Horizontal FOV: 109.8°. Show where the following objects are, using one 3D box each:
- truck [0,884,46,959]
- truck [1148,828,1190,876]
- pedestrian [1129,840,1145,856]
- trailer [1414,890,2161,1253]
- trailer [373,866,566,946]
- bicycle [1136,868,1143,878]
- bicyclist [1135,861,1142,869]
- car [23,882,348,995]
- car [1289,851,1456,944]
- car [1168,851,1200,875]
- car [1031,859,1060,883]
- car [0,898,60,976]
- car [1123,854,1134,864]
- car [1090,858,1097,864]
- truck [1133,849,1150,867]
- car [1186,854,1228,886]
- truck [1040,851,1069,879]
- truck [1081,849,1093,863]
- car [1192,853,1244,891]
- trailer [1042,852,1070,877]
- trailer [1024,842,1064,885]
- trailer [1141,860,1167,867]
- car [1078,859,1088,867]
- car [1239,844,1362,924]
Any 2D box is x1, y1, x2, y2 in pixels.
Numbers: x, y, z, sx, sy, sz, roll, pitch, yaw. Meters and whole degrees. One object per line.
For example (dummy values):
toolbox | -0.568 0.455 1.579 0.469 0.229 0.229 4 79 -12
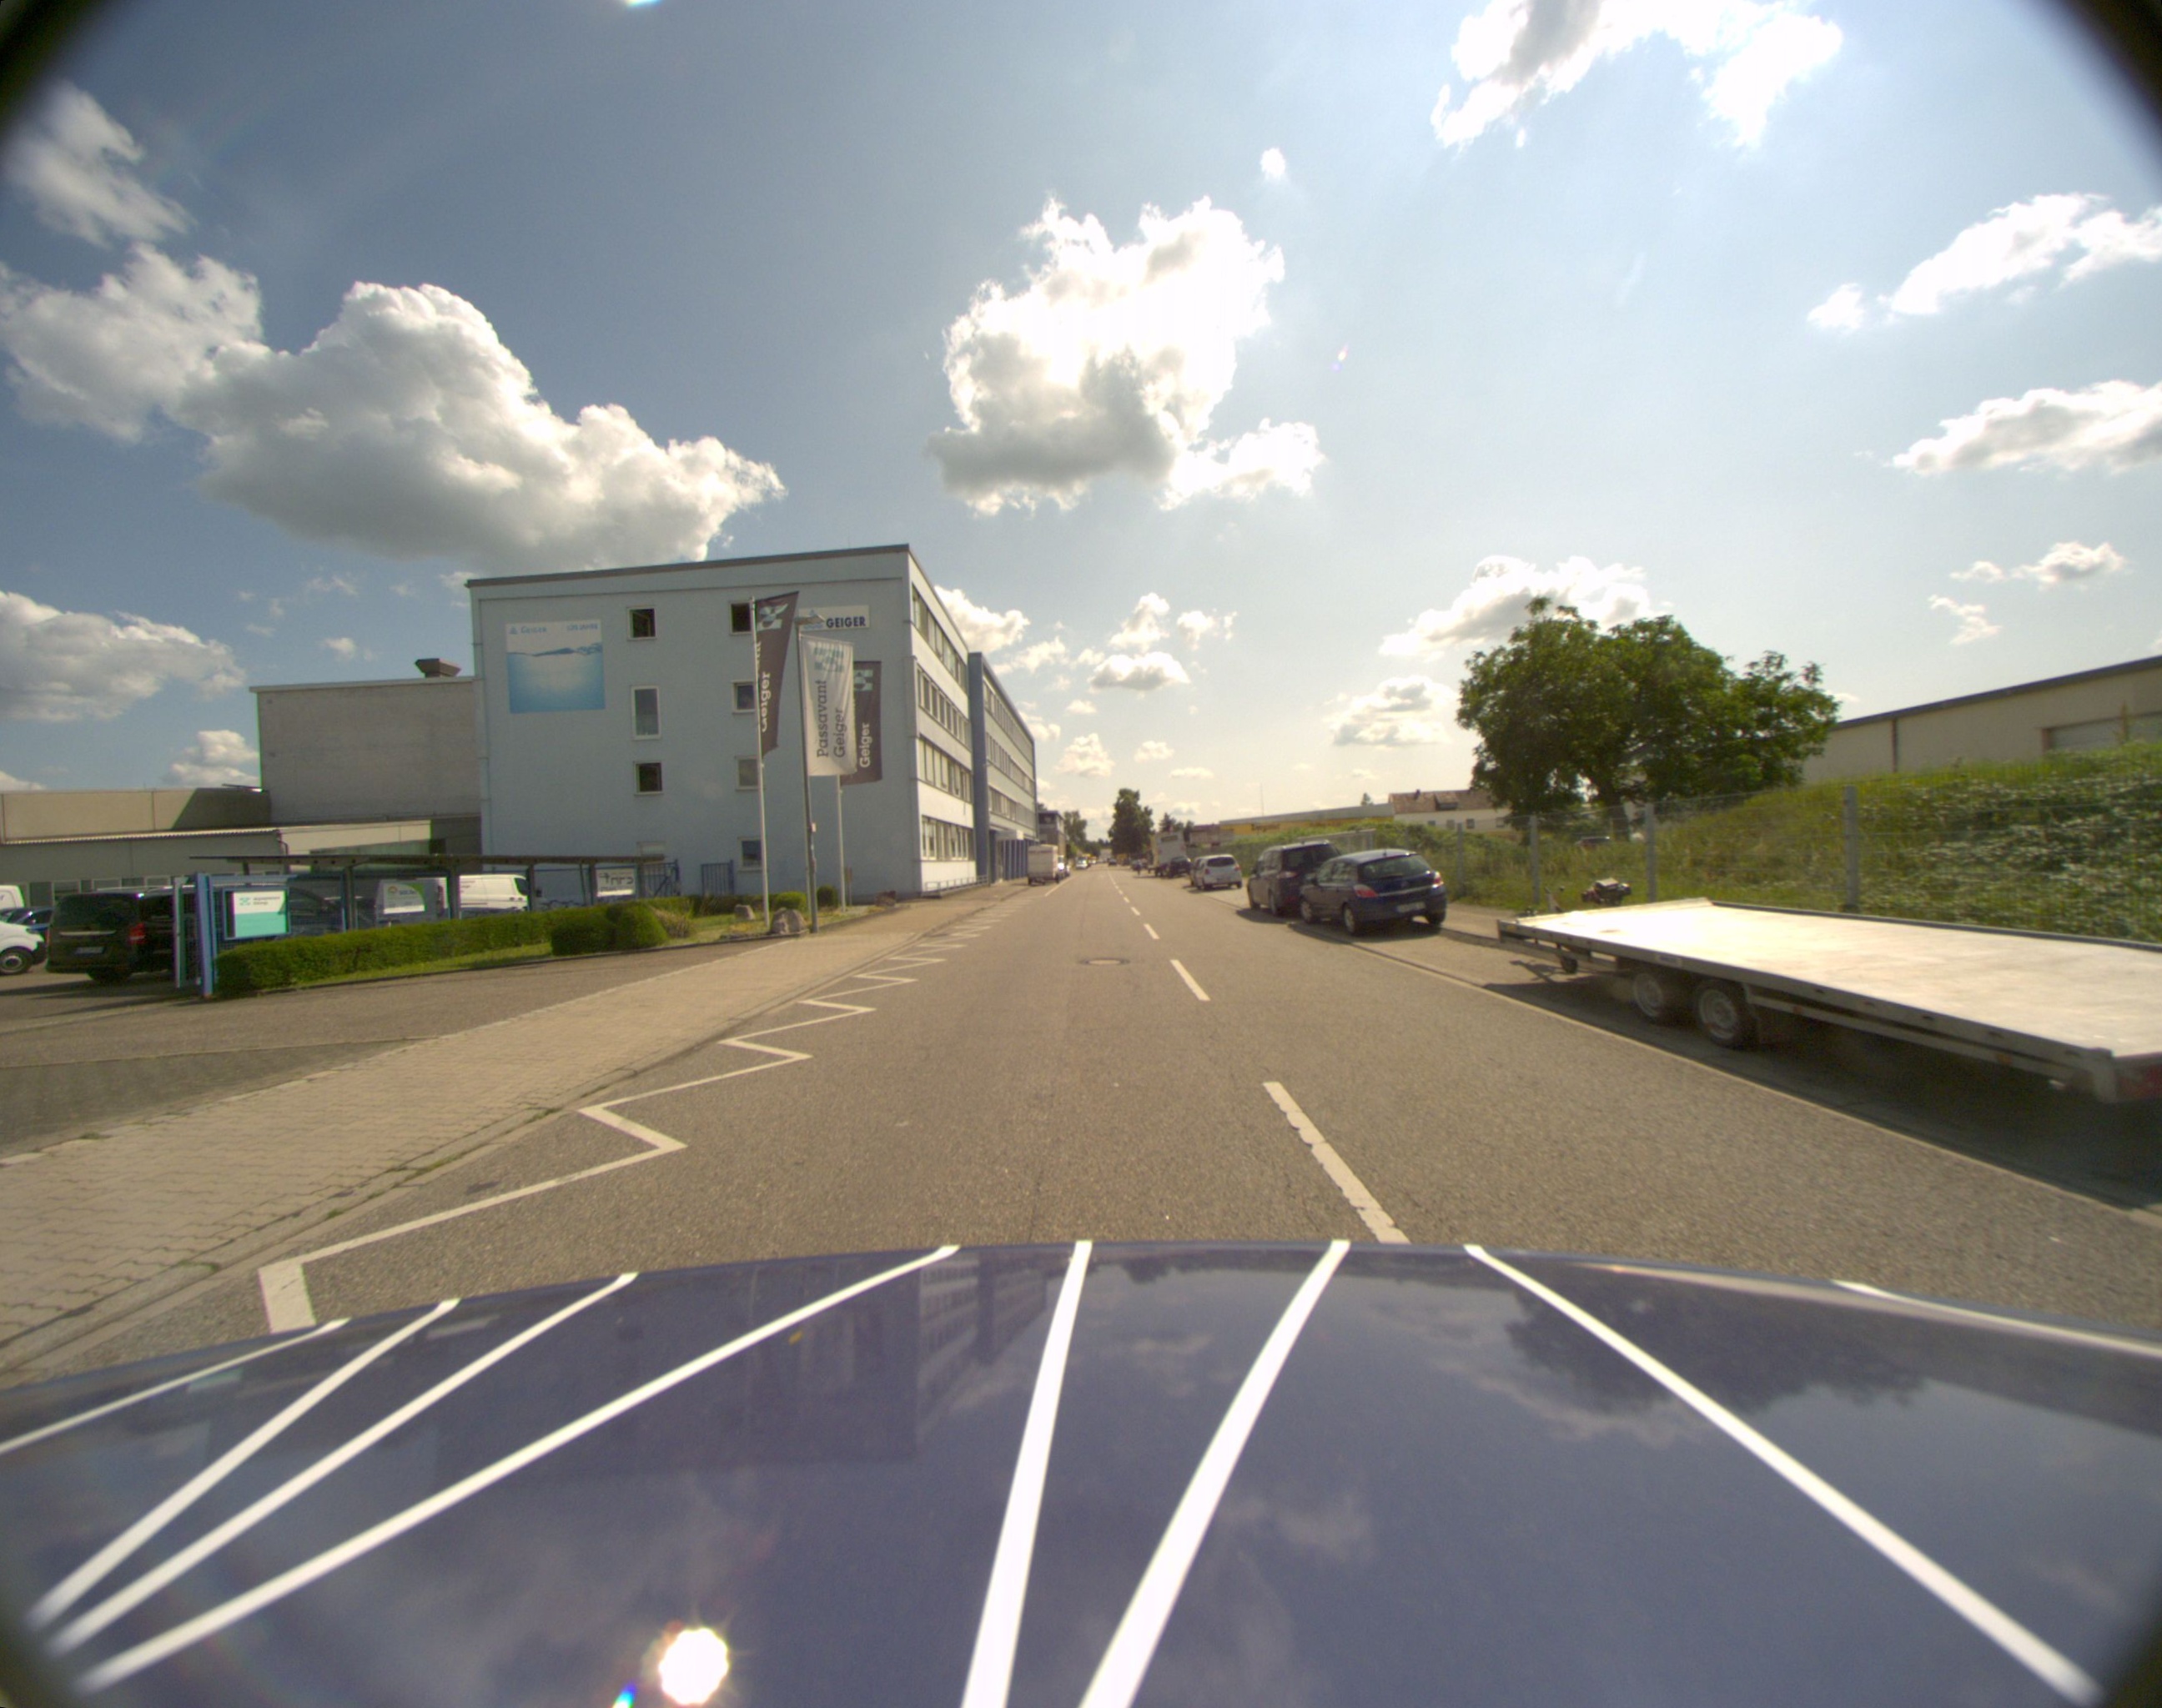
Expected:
truck | -35.717 2.242 23.399 1.998 2.350 4.000 -3 0 2
truck | 6.931 -0.096 60.573 2.256 3.342 6.907 -7 -1 1
pedestrian | 7.720 -0.869 104.616 1.998 2.002 4.000 -3 0 3
trailer | 5.538 1.074 6.676 2.276 0.878 7.132 -7 0 2
trailer | -18.397 1.455 23.280 1.690 1.973 5.277 -3 0 -2
bicycle | 5.057 1.636 66.070 0.589 0.737 2.126 -2 0 4
bicyclist | 5.023 0.941 66.078 0.567 0.628 1.858 -3 -1 4
car | -18.770 1.659 16.310 1.999 1.859 4.140 -3 0 -1
car | 5.564 0.746 15.079 1.581 1.504 4.201 -3 0 -1
car | 7.158 0.601 53.261 1.623 1.421 3.827 -9 0 2
car | -2.541 1.199 55.264 1.722 1.533 4.403 -3 0 2
car | -26.526 2.047 16.602 1.999 1.794 4.710 -3 0 -1
car | 10.703 1.117 171.315 1.997 2.289 4.003 -2 0 11
car | 4.295 2.368 256.662 1.998 2.002 4.001 -2 0 3
truck | 8.340 0.612 105.300 2.133 2.225 7.351 -5 -1 4
car | 6.369 0.767 38.665 1.572 1.391 3.799 -7 0 3
truck | -2.084 0.851 60.894 1.969 2.023 4.734 -3 0 1
truck | 1.345 0.487 165.373 2.402 2.787 6.376 -2 0 3
car | 5.986 0.764 33.548 1.619 1.474 3.710 -5 0 1
trailer | -2.069 0.861 64.284 1.978 1.959 5.766 -2 0 1
trailer | -2.272 0.585 48.379 1.873 2.538 5.073 -2 0 4
trailer | 7.689 1.040 80.214 2.241 0.549 4.444 -3 0 0
car | 0.347 1.557 131.748 1.657 1.324 4.000 -2 0 1
car | 5.544 0.683 19.850 1.805 1.739 4.713 -3 0 1
